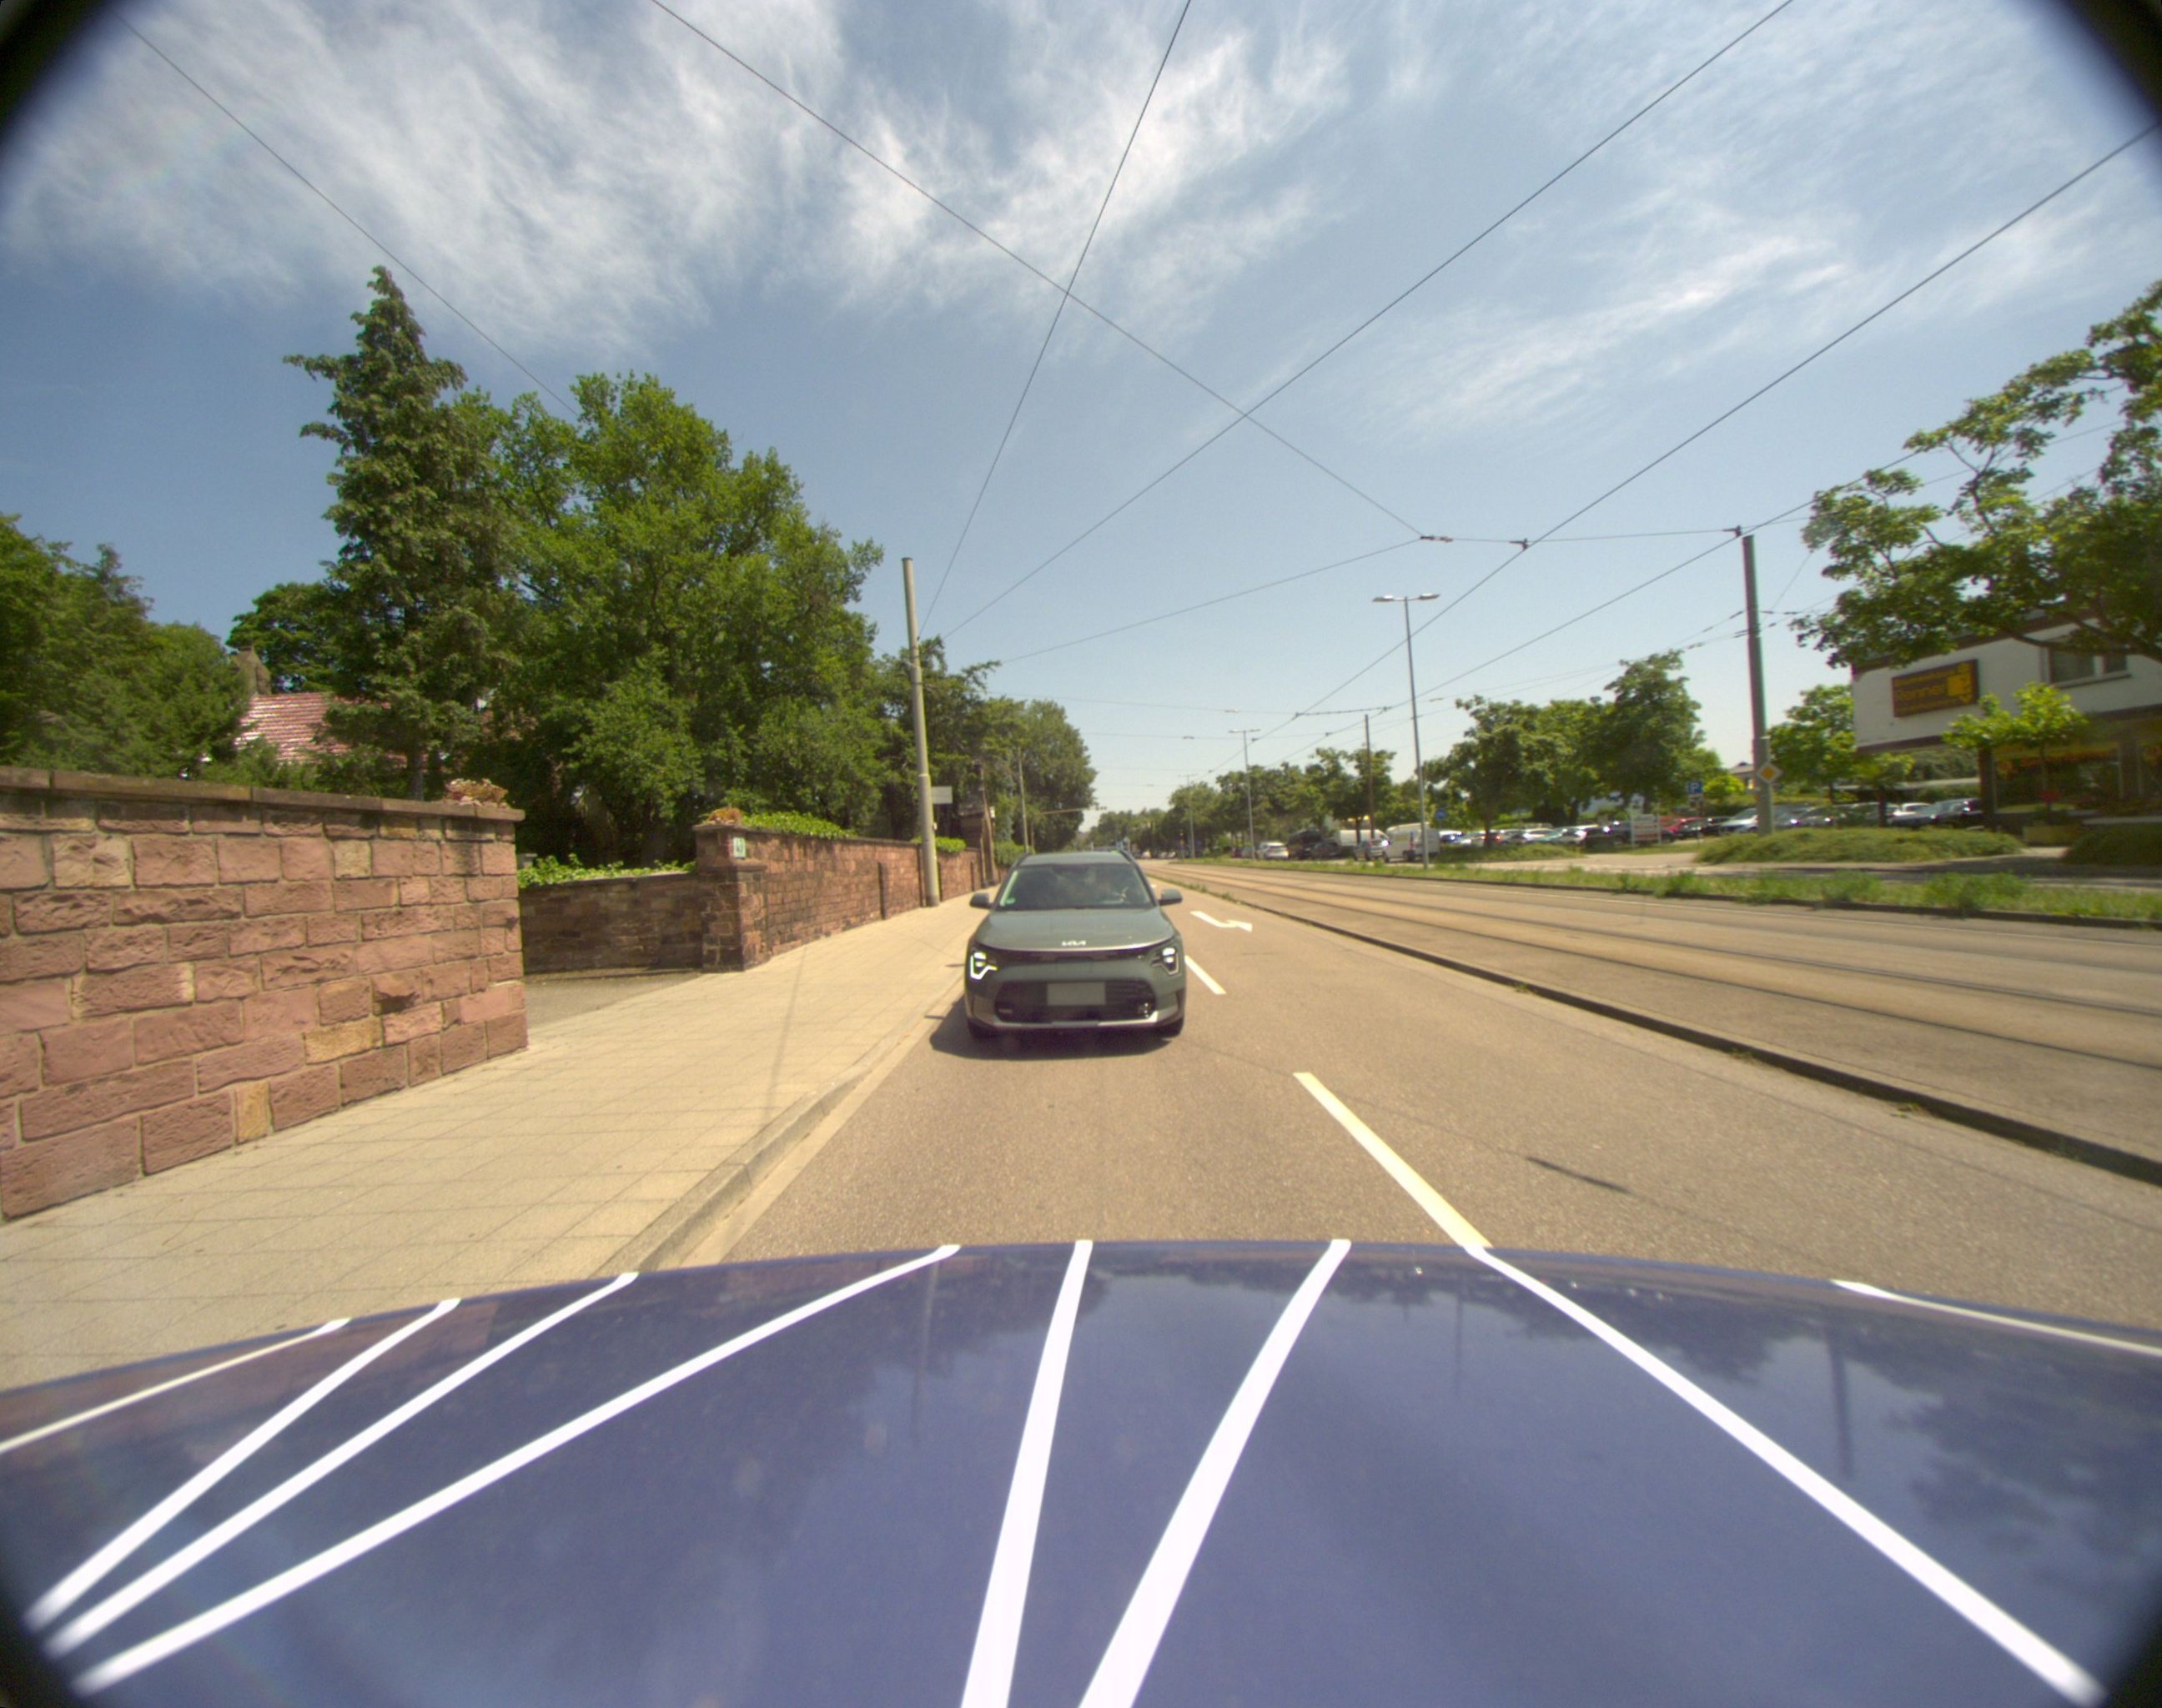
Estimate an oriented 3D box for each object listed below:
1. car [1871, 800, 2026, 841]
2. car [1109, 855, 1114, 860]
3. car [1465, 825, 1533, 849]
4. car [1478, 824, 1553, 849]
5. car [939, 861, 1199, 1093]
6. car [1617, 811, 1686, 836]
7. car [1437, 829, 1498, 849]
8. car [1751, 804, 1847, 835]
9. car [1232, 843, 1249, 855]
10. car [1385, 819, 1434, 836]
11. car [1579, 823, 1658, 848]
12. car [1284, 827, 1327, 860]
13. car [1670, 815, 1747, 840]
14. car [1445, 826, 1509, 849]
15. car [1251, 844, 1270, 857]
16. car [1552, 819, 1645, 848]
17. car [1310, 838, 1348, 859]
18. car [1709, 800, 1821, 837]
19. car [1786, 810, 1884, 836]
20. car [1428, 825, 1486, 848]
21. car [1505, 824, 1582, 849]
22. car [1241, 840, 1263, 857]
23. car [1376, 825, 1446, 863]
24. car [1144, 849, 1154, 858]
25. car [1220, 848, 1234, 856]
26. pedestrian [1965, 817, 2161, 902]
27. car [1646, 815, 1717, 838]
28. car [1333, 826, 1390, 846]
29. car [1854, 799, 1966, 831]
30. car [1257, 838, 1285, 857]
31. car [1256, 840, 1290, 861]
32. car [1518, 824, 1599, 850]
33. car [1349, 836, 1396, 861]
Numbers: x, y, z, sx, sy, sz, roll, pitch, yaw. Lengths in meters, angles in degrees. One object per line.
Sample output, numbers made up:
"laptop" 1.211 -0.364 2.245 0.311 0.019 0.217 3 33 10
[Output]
"car" 34.108 -1.300 29.948 3.996 1.289 1.682 -4 0 3
"car" 10.550 1.305 262.865 1.820 1.472 3.423 -2 1 3
"car" 30.947 -1.244 56.278 4.075 1.481 1.831 -3 0 -6
"car" 30.510 -1.193 53.448 4.163 1.481 2.023 -3 0 -6
"car" -0.095 0.900 7.611 1.824 1.577 4.287 -2 0 0
"car" 43.821 -2.354 58.358 4.129 1.643 1.692 -3 0 -5
"car" 31.265 -1.213 61.534 3.998 1.398 1.797 -2 0 -3
"car" 43.345 -2.047 45.922 3.996 1.647 1.803 -2 1 3
"car" 20.932 -0.681 99.954 1.582 1.472 3.423 -2 1 3
"car" 44.723 -3.571 103.454 5.744 2.051 2.147 -2 1 -2
"car" 30.607 -1.037 43.328 3.423 1.225 1.643 -3 0 -6
"car" 20.350 -0.983 69.114 2.243 2.822 5.667 -2 1 1
"car" 43.923 -1.831 53.228 3.997 1.576 1.684 -2 1 -1
"car" 30.603 -1.258 58.773 3.999 1.479 1.866 -3 0 -6
"car" 20.933 -0.444 88.562 1.429 1.470 3.262 -2 1 1
"car" 31.205 -1.221 45.894 4.171 1.481 1.984 -3 0 -1
"car" 20.415 -0.476 62.754 1.976 1.568 3.751 -2 1 1
"car" 43.438 -2.211 48.342 5.120 2.058 2.226 -2 1 1
"car" 42.833 -1.731 43.226 3.724 1.277 1.764 -2 1 3
"car" 31.715 -1.472 64.187 3.998 1.708 1.797 -3 0 -3
"car" 31.015 -1.165 51.036 4.146 1.481 1.859 -2 1 -6
"car" 20.984 -0.705 93.255 1.635 1.882 4.496 -2 1 1
"car" 20.127 -0.614 46.634 1.880 1.999 5.344 -6 0 2
"car" 16.749 -0.068 186.020 1.821 1.979 4.212 -2 1 -3
"car" 21.489 -0.330 111.843 1.582 1.152 3.423 -2 1 3
"pedestrian" 26.741 0.078 20.125 1.998 2.002 3.999 -2 1 0
"car" 44.318 -2.031 56.080 3.999 1.486 1.715 -2 1 -5
"car" 30.705 -2.002 83.273 5.434 1.945 2.029 -2 1 2
"car" 43.974 -2.056 40.359 3.996 1.511 1.661 -2 1 3
"car" 20.693 -0.769 83.019 1.924 1.937 4.817 -2 1 2
"car" 16.041 -0.303 63.575 1.728 1.601 4.569 -2 1 2
"car" 30.488 -1.078 48.580 4.040 1.481 1.912 -2 1 -6
"car" 20.301 -0.418 53.126 1.654 1.494 4.125 -6 0 2
